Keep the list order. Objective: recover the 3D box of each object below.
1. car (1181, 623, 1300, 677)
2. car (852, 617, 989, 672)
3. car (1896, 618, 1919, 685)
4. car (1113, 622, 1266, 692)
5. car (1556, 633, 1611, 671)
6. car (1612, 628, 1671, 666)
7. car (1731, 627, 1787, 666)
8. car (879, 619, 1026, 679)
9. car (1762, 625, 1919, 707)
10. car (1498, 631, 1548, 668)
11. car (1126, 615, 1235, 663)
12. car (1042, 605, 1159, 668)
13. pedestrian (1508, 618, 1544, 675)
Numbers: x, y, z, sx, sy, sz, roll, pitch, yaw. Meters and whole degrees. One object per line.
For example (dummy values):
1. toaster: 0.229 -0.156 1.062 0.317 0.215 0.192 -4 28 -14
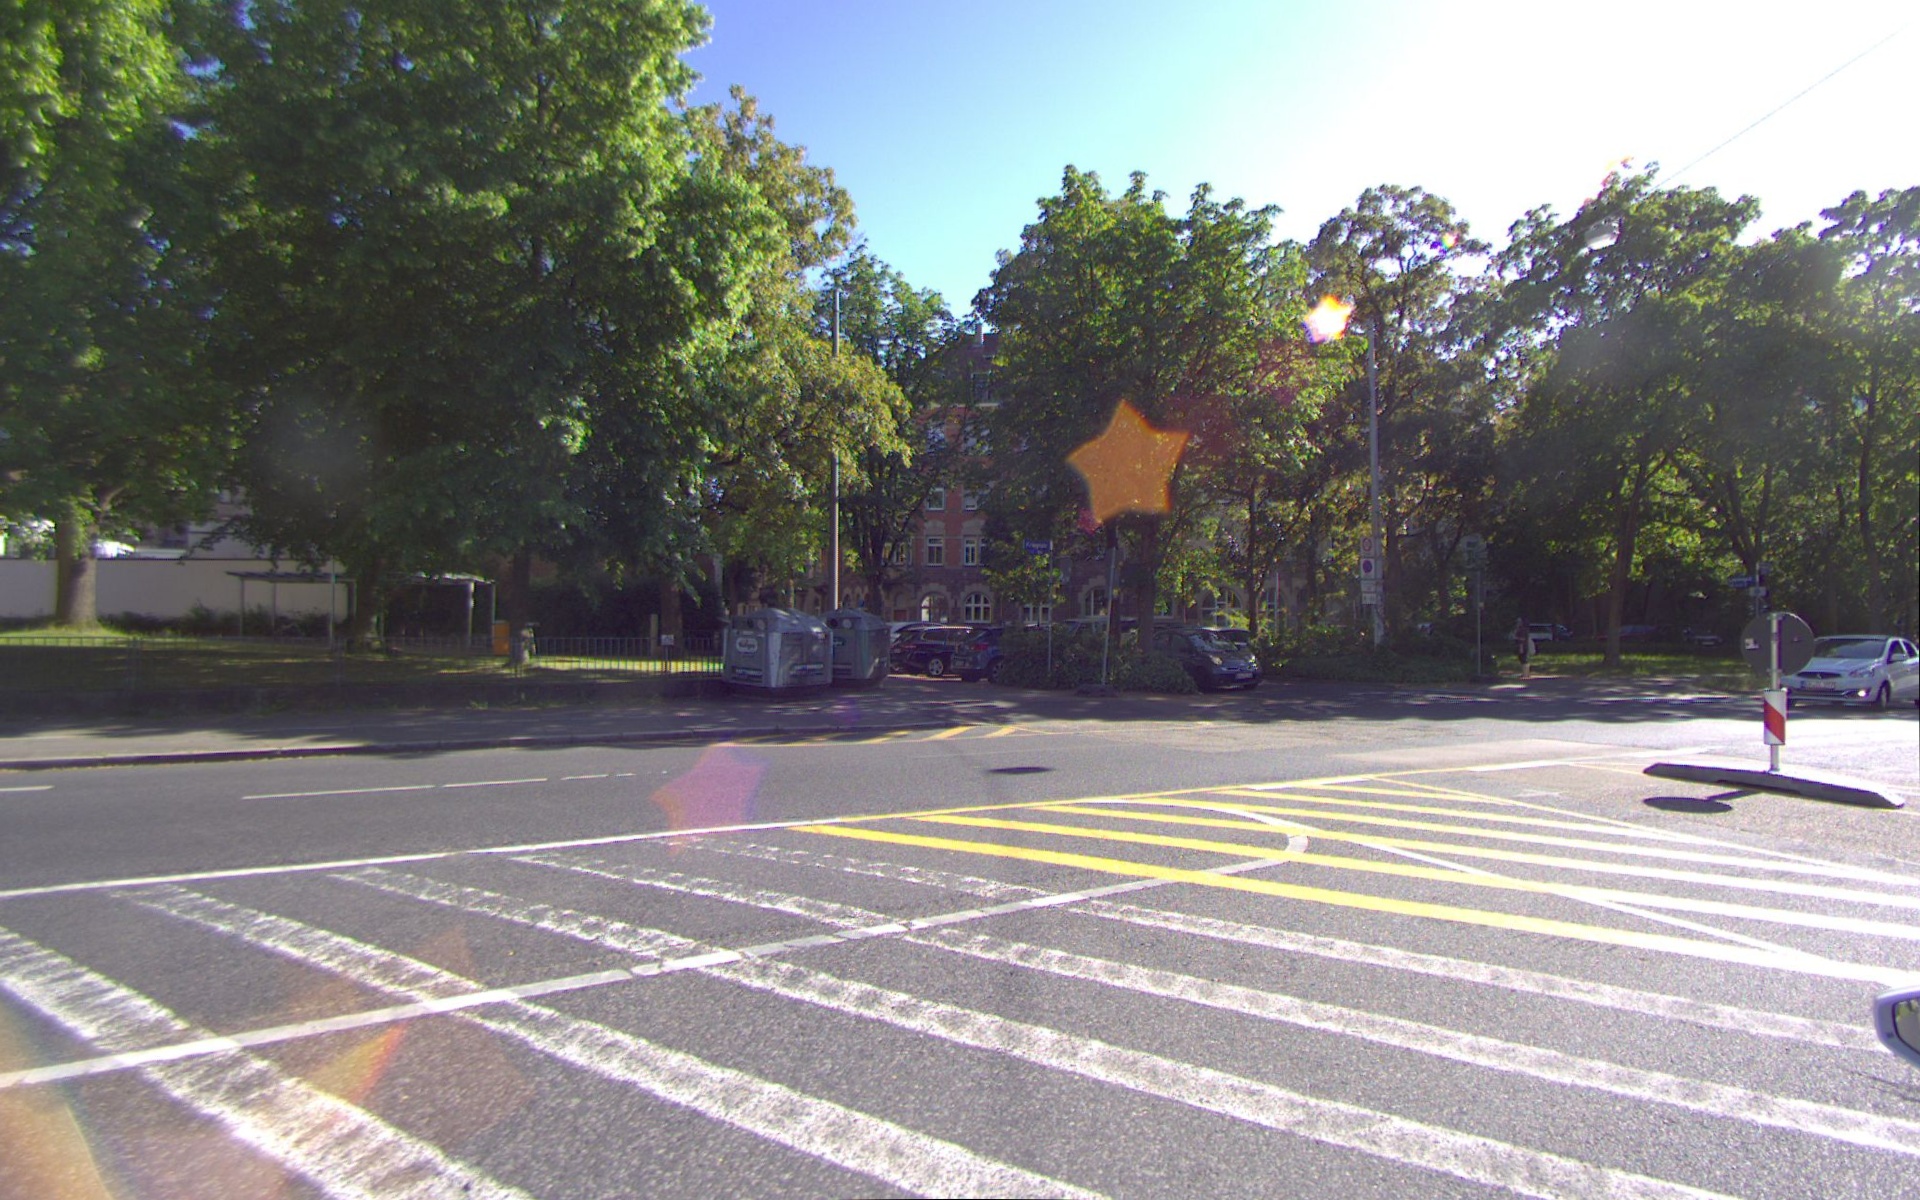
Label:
1. car: 10.074 1.805 36.007 3.956 1.675 1.836 5 -2 -31
2. car: -1.250 1.442 32.303 3.956 1.510 1.836 5 -2 -31
3. car: 30.725 1.567 30.415 4.804 1.955 2.189 1 -1 -30
4. car: 5.805 1.399 25.874 1.786 1.489 3.974 -2 1 -25
5. car: 30.219 2.484 48.770 1.945 1.684 3.995 0 -1 27
6. car: 32.147 2.177 47.481 1.946 1.684 3.994 0 -1 29
7. car: 36.723 2.091 46.234 1.951 1.684 3.984 0 -1 38
8. car: -0.212 1.462 29.915 3.956 1.510 1.836 5 -2 -31
9. car: 18.396 1.294 20.688 3.816 1.539 1.750 0 -2 -32
10. car: 28.201 2.443 50.444 1.944 1.684 3.996 0 -1 26
11. car: 8.523 1.467 38.790 3.955 1.676 1.836 0 1 -32
12. car: 6.187 1.615 44.108 4.930 2.354 1.836 5 -2 -31
13. pedestrian: 16.755 1.360 29.748 0.701 1.648 0.671 1 0 2
